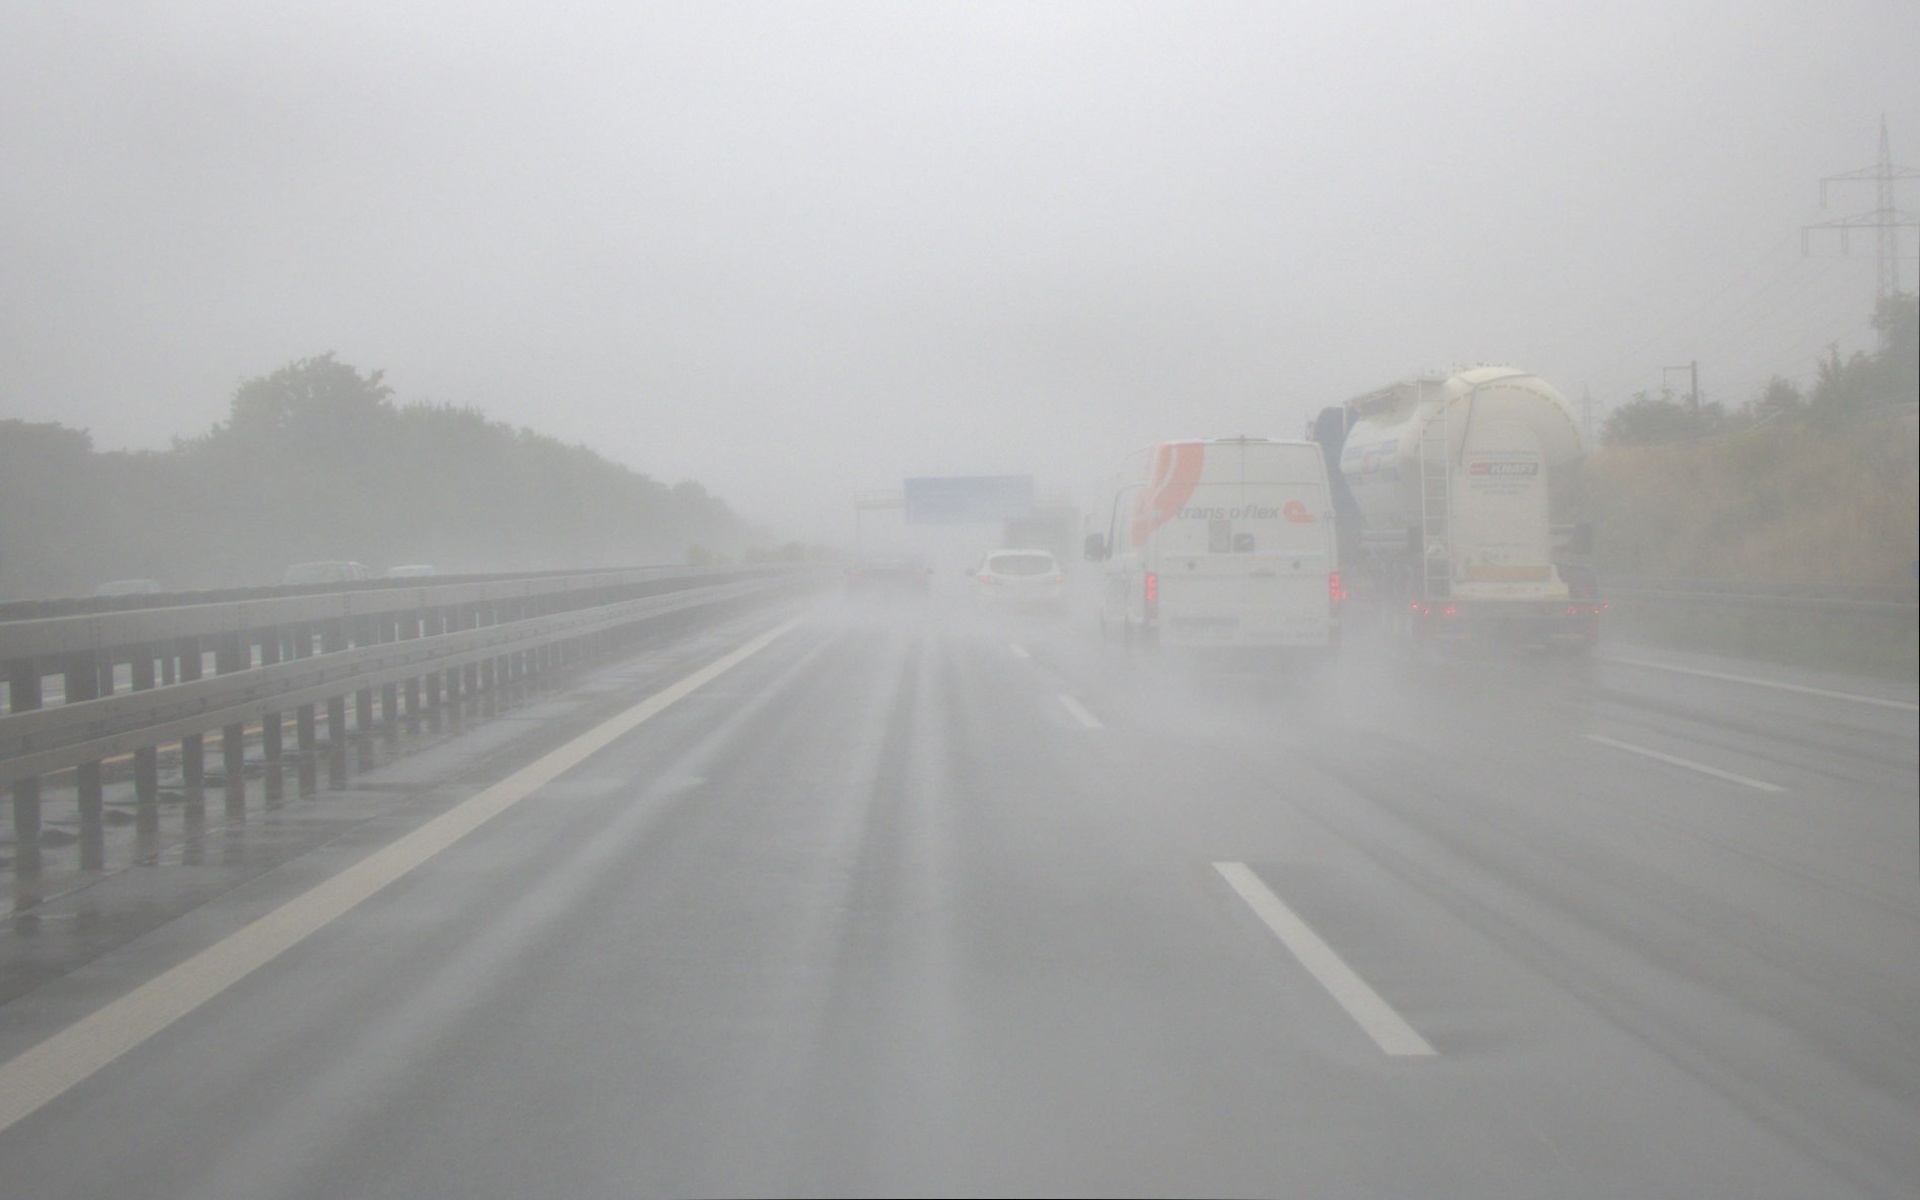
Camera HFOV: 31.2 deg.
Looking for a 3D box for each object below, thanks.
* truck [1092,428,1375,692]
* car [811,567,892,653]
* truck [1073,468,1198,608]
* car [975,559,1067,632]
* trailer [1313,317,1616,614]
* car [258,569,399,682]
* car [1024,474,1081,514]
[{"bbox_3d":[2.701,-0.422,35.410,2.419,2.484,5.560,1,1,0],"label":"truck"},{"bbox_3d":[-2.395,0.200,76.783,1.702,1.812,3.862,1,1,0],"label":"car"},{"bbox_3d":[6.054,-2.046,121.630,3.039,4.572,16.352,0,0,-2],"label":"truck"},{"bbox_3d":[1.136,-0.107,65.439,1.605,1.333,3.848,0,1,-1],"label":"car"},{"bbox_3d":[7.184,-1.848,50.618,2.497,3.869,11.067,0,1,-2],"label":"trailer"},{"bbox_3d":[-12.404,0.462,67.796,1.993,2.097,4.767,1,1,-1],"label":"car"},{"bbox_3d":[4.882,-5.591,182.145,2.788,2.007,4.993,1,1,-1],"label":"car"}]
